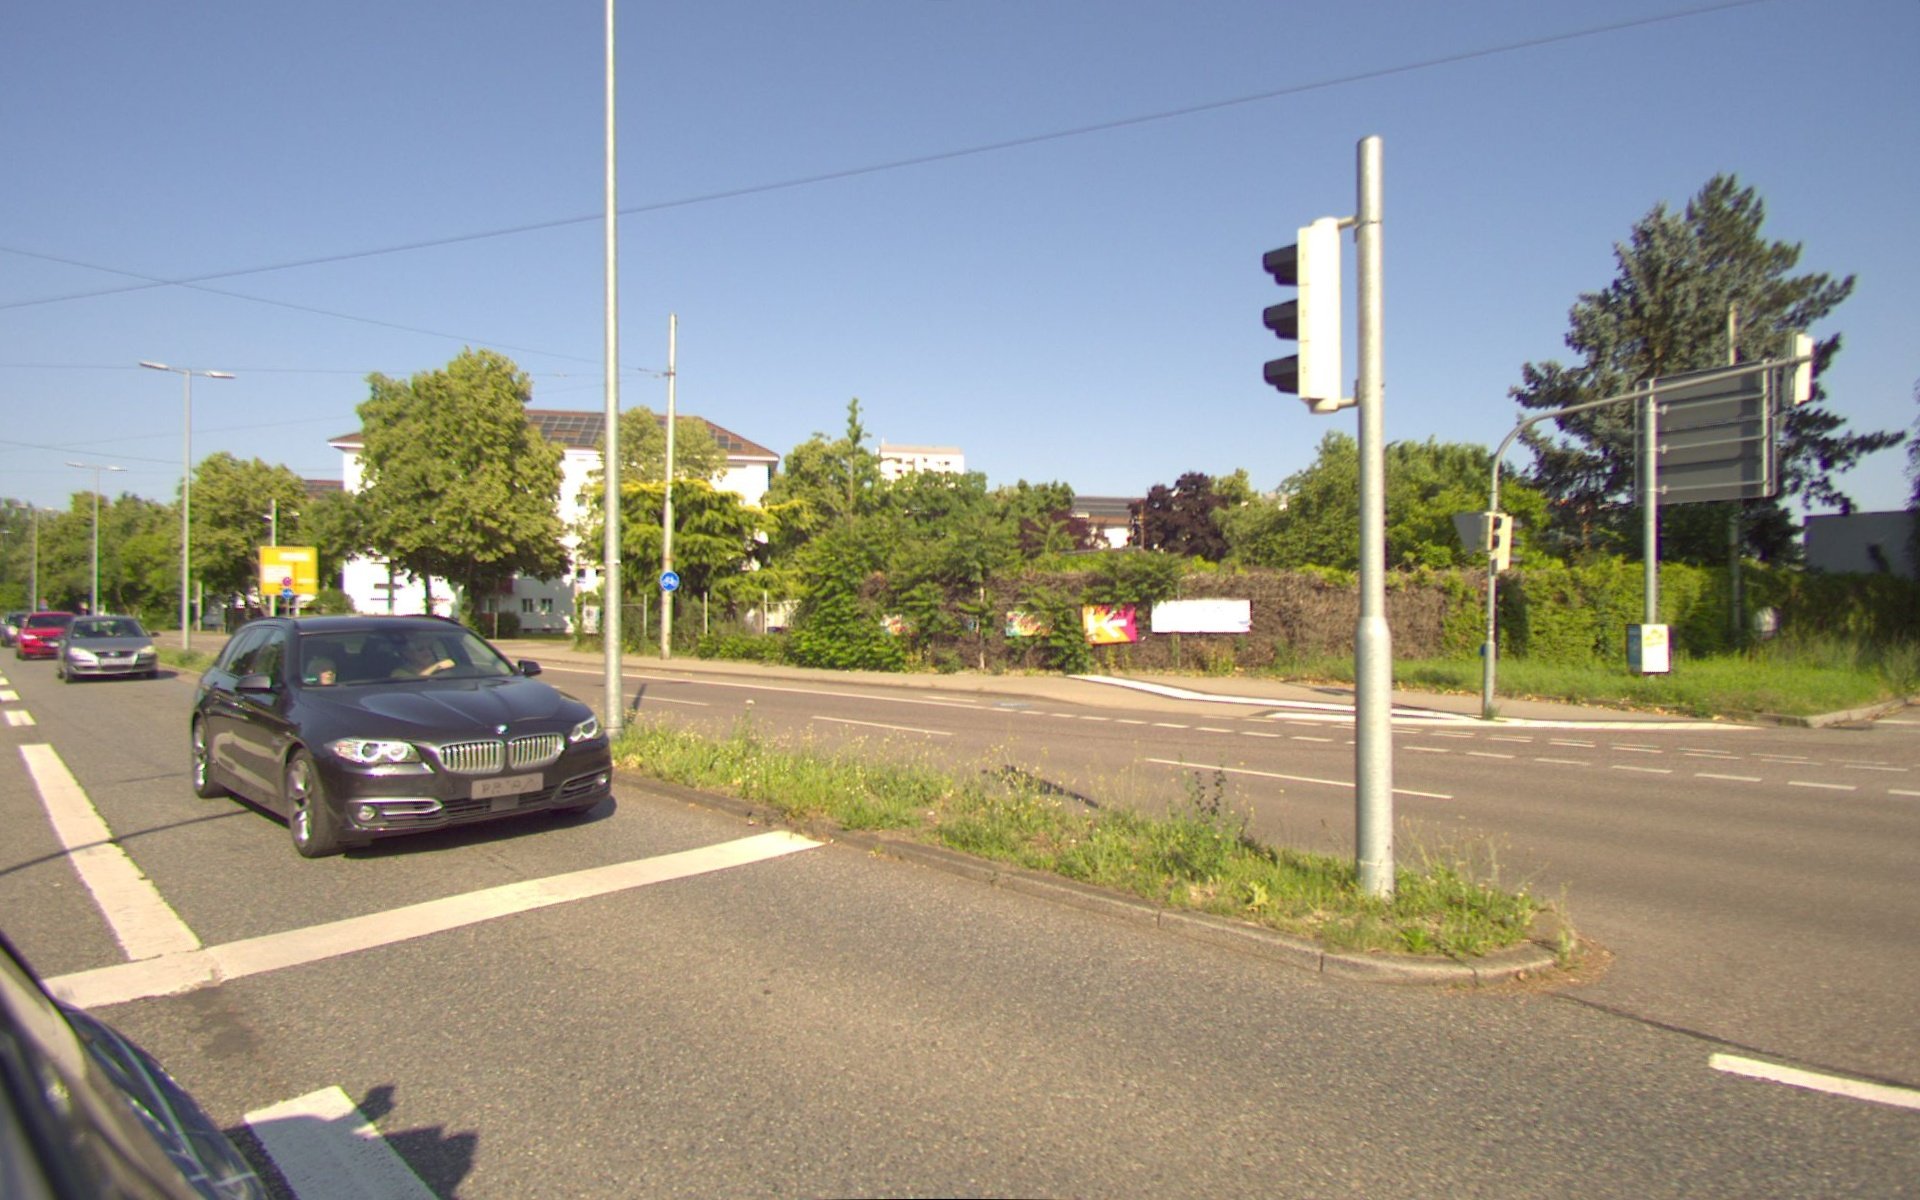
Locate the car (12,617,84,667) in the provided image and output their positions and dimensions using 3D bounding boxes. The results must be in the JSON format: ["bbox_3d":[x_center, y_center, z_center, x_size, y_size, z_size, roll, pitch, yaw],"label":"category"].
[{"bbox_3d":[-31.152,1.395,34.536,1.669,1.594,3.836,0,-1,-44],"label":"car"}]

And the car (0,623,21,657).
[{"bbox_3d":[-45.739,1.882,47.946,3.835,1.533,1.686,-2,-1,45],"label":"car"}]

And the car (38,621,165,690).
[{"bbox_3d":[-19.817,1.218,23.320,3.831,1.439,1.671,-1,-1,41],"label":"car"}]

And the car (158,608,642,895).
[{"bbox_3d":[-4.421,0.857,7.599,4.643,1.497,1.741,-1,0,42],"label":"car"}]
